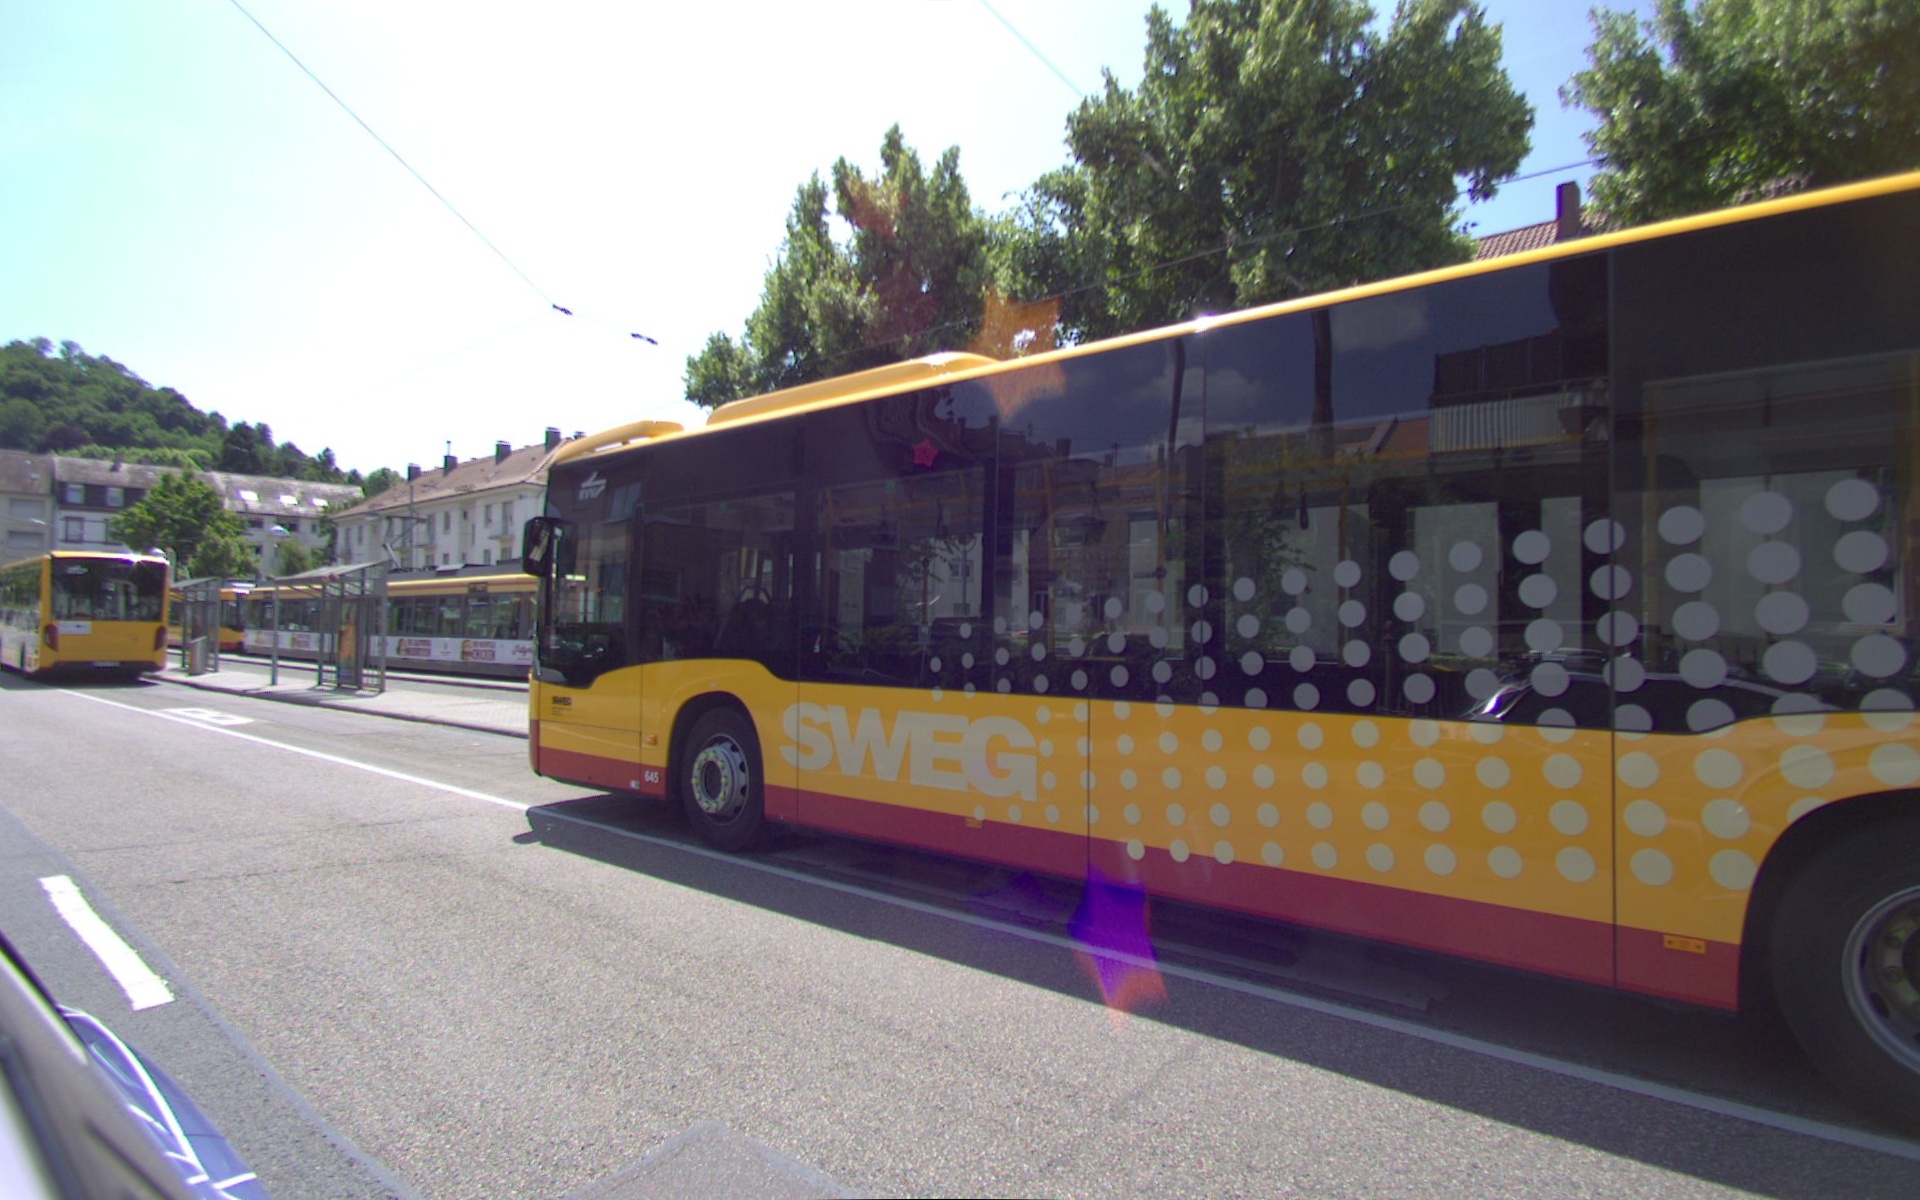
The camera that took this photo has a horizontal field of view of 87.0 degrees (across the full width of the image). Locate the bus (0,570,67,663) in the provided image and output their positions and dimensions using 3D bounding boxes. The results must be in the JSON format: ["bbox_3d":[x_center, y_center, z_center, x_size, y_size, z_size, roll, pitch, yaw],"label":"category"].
[{"bbox_3d":[-40.034,0.737,41.963,12.032,3.453,2.878,-2,-1,41],"label":"bus"}]

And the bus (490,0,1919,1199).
[{"bbox_3d":[1.721,-0.022,5.305,12.111,3.272,2.877,0,0,41],"label":"bus"}]

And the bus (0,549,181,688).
[{"bbox_3d":[-25.497,0.363,28.956,12.192,3.272,2.867,1,0,42],"label":"bus"}]

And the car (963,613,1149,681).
[{"bbox_3d":[2.075,0.983,22.547,3.998,1.283,1.552,1,0,41],"label":"car"}]

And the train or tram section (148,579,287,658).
[{"bbox_3d":[-37.434,0.868,50.739,12.650,3.521,2.932,0,0,41],"label":"train or tram section"}]

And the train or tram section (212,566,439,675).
[{"bbox_3d":[-26.248,0.735,41.041,17.343,3.670,2.932,0,0,41],"label":"train or tram section"}]

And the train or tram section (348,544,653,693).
[{"bbox_3d":[-14.475,0.490,30.712,13.987,3.670,2.932,0,0,41],"label":"train or tram section"}]
